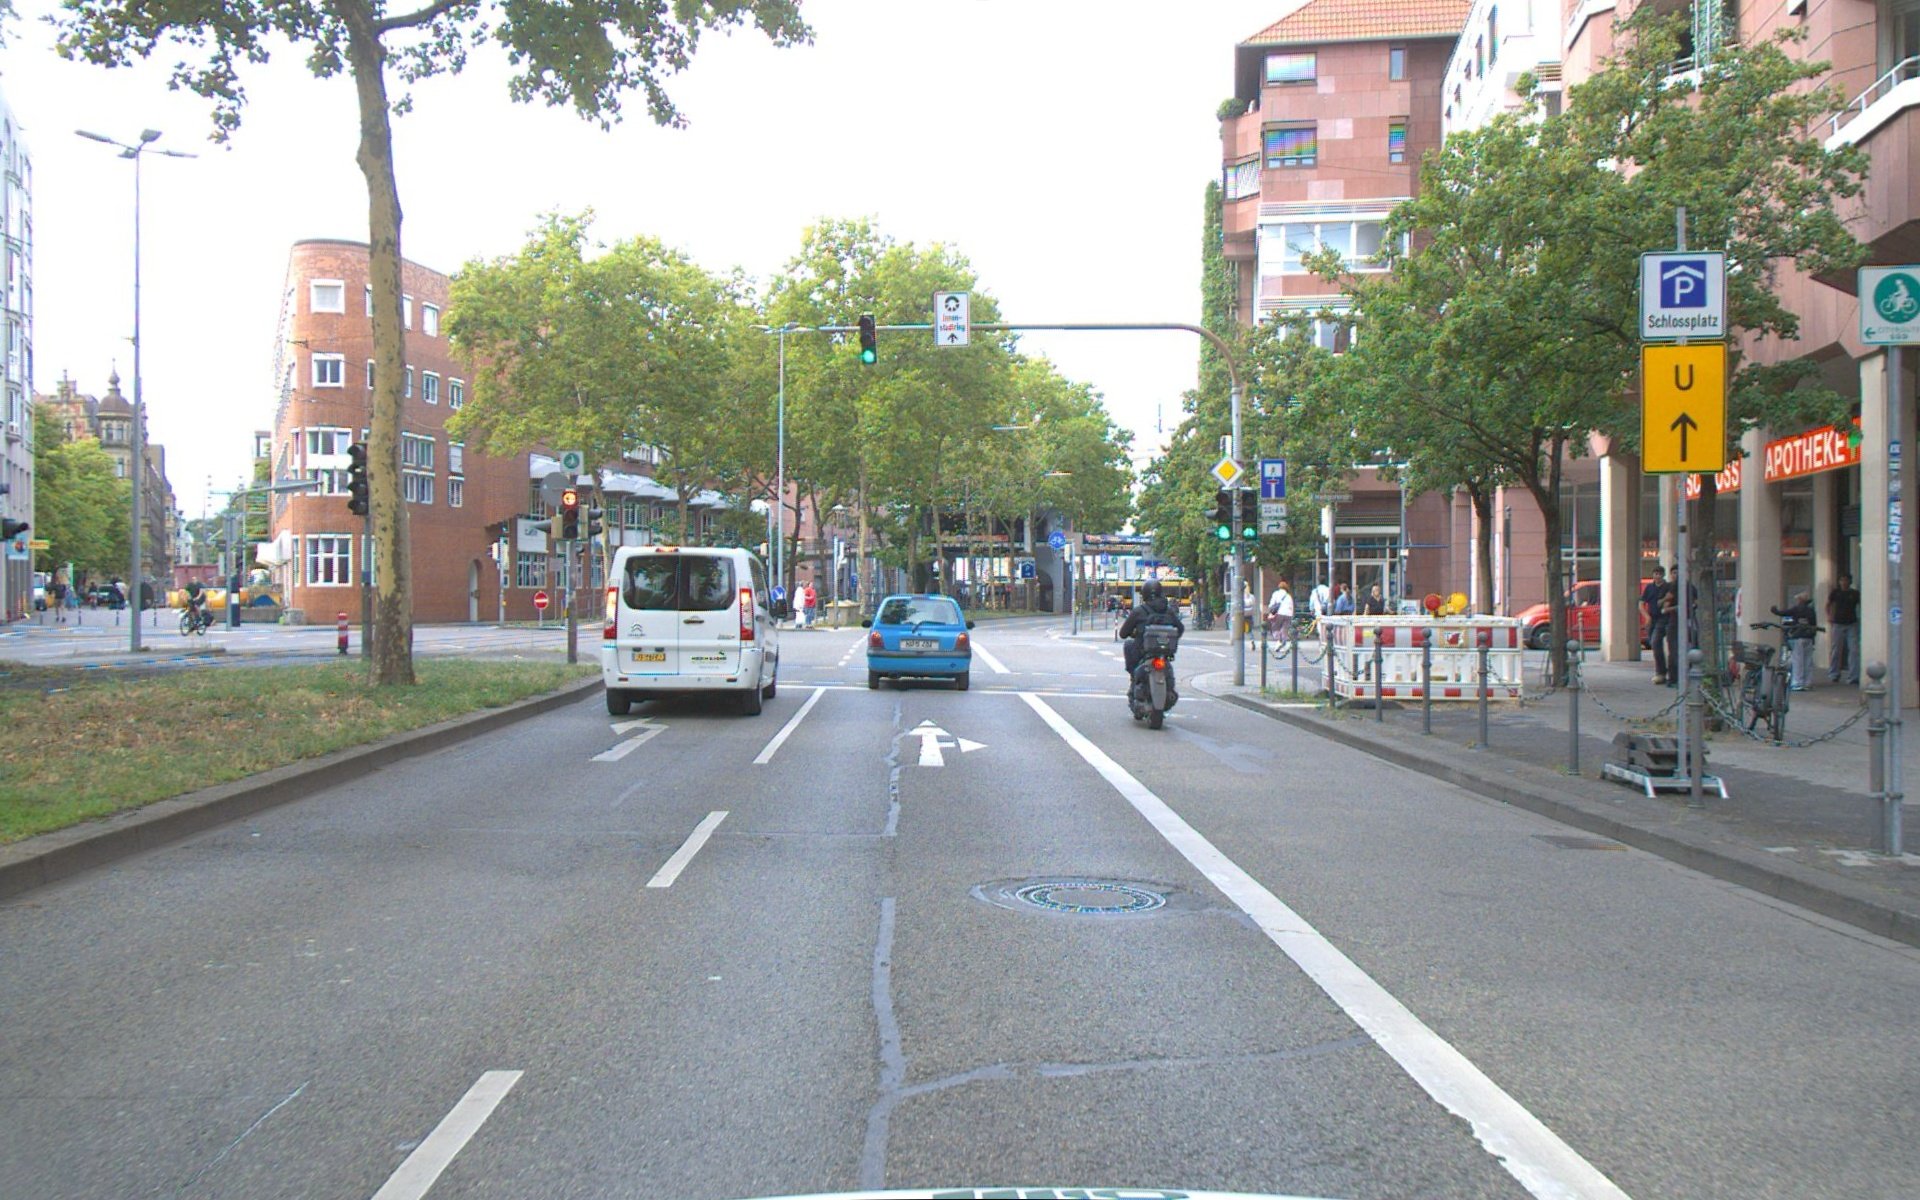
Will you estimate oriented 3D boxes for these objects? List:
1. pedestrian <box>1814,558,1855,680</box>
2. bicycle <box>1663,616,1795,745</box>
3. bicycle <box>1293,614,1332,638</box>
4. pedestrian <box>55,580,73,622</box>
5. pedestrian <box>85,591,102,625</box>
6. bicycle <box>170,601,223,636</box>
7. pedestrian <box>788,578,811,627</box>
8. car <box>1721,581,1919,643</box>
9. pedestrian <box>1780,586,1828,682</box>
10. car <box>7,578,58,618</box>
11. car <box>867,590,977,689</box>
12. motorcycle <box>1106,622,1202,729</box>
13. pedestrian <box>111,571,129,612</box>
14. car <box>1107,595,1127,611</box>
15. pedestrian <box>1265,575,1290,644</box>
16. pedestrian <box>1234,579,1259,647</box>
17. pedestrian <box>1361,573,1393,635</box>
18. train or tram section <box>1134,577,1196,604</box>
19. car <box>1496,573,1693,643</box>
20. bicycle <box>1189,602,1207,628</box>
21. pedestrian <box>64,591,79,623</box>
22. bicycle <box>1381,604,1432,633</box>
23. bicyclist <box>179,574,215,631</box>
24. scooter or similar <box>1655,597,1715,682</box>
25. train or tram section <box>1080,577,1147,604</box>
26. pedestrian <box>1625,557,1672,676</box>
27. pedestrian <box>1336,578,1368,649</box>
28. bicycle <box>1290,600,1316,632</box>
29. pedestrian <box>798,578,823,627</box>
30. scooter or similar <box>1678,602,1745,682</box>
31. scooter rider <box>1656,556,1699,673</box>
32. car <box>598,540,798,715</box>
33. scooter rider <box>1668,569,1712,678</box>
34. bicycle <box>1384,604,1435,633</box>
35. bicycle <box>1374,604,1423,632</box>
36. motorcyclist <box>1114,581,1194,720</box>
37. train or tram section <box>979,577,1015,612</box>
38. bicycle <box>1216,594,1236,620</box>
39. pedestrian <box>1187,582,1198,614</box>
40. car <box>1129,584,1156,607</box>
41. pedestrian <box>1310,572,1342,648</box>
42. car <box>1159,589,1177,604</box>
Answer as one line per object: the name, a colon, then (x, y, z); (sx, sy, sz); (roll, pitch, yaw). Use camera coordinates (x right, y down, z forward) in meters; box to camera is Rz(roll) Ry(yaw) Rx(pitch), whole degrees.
pedestrian: (13.349, 0.275, 25.246); (0.541, 1.831, 0.656); (0, 0, 29)
bicycle: (7.393, 0.739, 15.981); (0.599, 1.137, 1.806); (0, 0, 6)
bicycle: (12.153, 0.898, 57.061); (1.272, 0.828, 0.444); (0, 0, 21)
pedestrian: (-36.848, 0.023, 68.017); (0.666, 1.709, 0.746); (0, 0, -29)
pedestrian: (-53.168, 0.497, 101.474); (0.852, 2.049, 1.333); (0, 0, -26)
bicycle: (-25.909, 0.621, 56.165); (0.663, 1.112, 2.210); (-1, 1, 3)
pedestrian: (-5.699, 0.089, 58.771); (0.541, 1.748, 0.891); (0, 0, 16)
car: (23.120, 0.333, 44.180); (4.723, 1.618, 2.001); (0, -2, 11)
pedestrian: (11.987, 0.479, 23.507); (0.476, 1.347, 0.485); (0, 0, 9)
car: (-46.730, -0.123, 83.390); (1.969, 1.970, 4.904); (0, 0, -26)
car: (-0.596, 0.562, 26.100); (1.607, 1.410, 3.842); (0, 1, -1)
motorcycle: (2.210, 0.833, 19.106); (0.752, 1.126, 2.207); (-1, 0, -2)
pedestrian: (-41.903, -0.428, 82.550); (0.780, 1.998, 0.799); (0, 0, -26)
car: (16.845, 0.305, 177.143); (1.846, 1.652, 4.004); (0, 0, 10)
pedestrian: (7.681, 0.228, 39.997); (0.506, 1.644, 0.851); (0, 0, 5)
pedestrian: (6.926, 0.305, 40.043); (0.506, 1.644, 0.851); (0, 0, 3)
pedestrian: (10.595, 0.105, 42.026); (0.661, 1.565, 0.948); (0, 0, 6)
train or tram section: (25.665, -1.151, 207.208); (8.260, 3.310, 2.368); (0, 0, -35)
car: (17.209, 0.239, 45.079); (4.723, 1.857, 2.001); (0, -1, 11)
bicycle: (9.606, 0.617, 66.857); (0.604, 1.026, 1.736); (0, 0, 4)
pedestrian: (-46.854, 0.352, 87.202); (0.684, 1.700, 0.824); (0, 0, -28)
bicycle: (15.917, 0.655, 59.026); (1.693, 1.026, 0.479); (0, 0, 5)
bicyclist: (-25.907, 0.076, 56.146); (0.653, 1.880, 1.081); (-1, 0, 3)
scooter or similar: (10.775, 0.570, 24.607); (0.463, 1.227, 1.331); (0, 0, 7)
train or tram section: (18.782, -1.144, 202.357); (8.715, 3.310, 2.367); (0, 0, -35)
pedestrian: (10.700, 0.252, 25.728); (0.539, 1.831, 0.658); (0, 0, 9)
pedestrian: (9.680, 0.322, 40.848); (0.638, 1.730, 1.023); (0, 0, 6)
bicycle: (11.448, 0.520, 55.203); (0.604, 1.026, 1.736); (0, 0, 3)
pedestrian: (-5.384, 0.095, 59.679); (0.542, 1.748, 0.890); (0, 0, 25)
scooter or similar: (11.471, 0.625, 25.282); (0.542, 1.190, 1.407); (0, 0, 7)
scooter rider: (10.811, 0.216, 24.917); (0.453, 1.750, 0.553); (0, 0, 6)
car: (-3.181, 0.270, 21.047); (1.893, 1.959, 4.954); (0, 1, -2)
scooter rider: (10.742, 0.335, 24.344); (0.451, 1.584, 0.565); (0, 0, 6)
bicycle: (15.905, 0.658, 58.536); (1.693, 1.026, 0.425); (0, 0, 5)
bicycle: (15.928, 0.650, 60.072); (1.693, 1.026, 0.438); (0, 0, 5)
motorcyclist: (2.215, 0.566, 19.029); (0.744, 1.545, 1.017); (-1, 0, -3)
train or tram section: (3.704, -0.548, 164.158); (2.338, 3.310, 8.825); (0, 0, 9)
bicycle: (10.695, 0.258, 66.518); (0.604, 1.026, 1.736); (0, 0, 4)
pedestrian: (13.678, -0.112, 97.325); (0.633, 1.891, 0.783); (0, 0, 8)
car: (12.996, -0.313, 117.652); (1.662, 1.629, 4.004); (0, 0, 10)
pedestrian: (9.001, 0.243, 40.651); (0.662, 1.860, 0.851); (0, 0, 5)
car: (21.889, -0.367, 174.266); (1.662, 1.629, 4.004); (0, 0, 10)
